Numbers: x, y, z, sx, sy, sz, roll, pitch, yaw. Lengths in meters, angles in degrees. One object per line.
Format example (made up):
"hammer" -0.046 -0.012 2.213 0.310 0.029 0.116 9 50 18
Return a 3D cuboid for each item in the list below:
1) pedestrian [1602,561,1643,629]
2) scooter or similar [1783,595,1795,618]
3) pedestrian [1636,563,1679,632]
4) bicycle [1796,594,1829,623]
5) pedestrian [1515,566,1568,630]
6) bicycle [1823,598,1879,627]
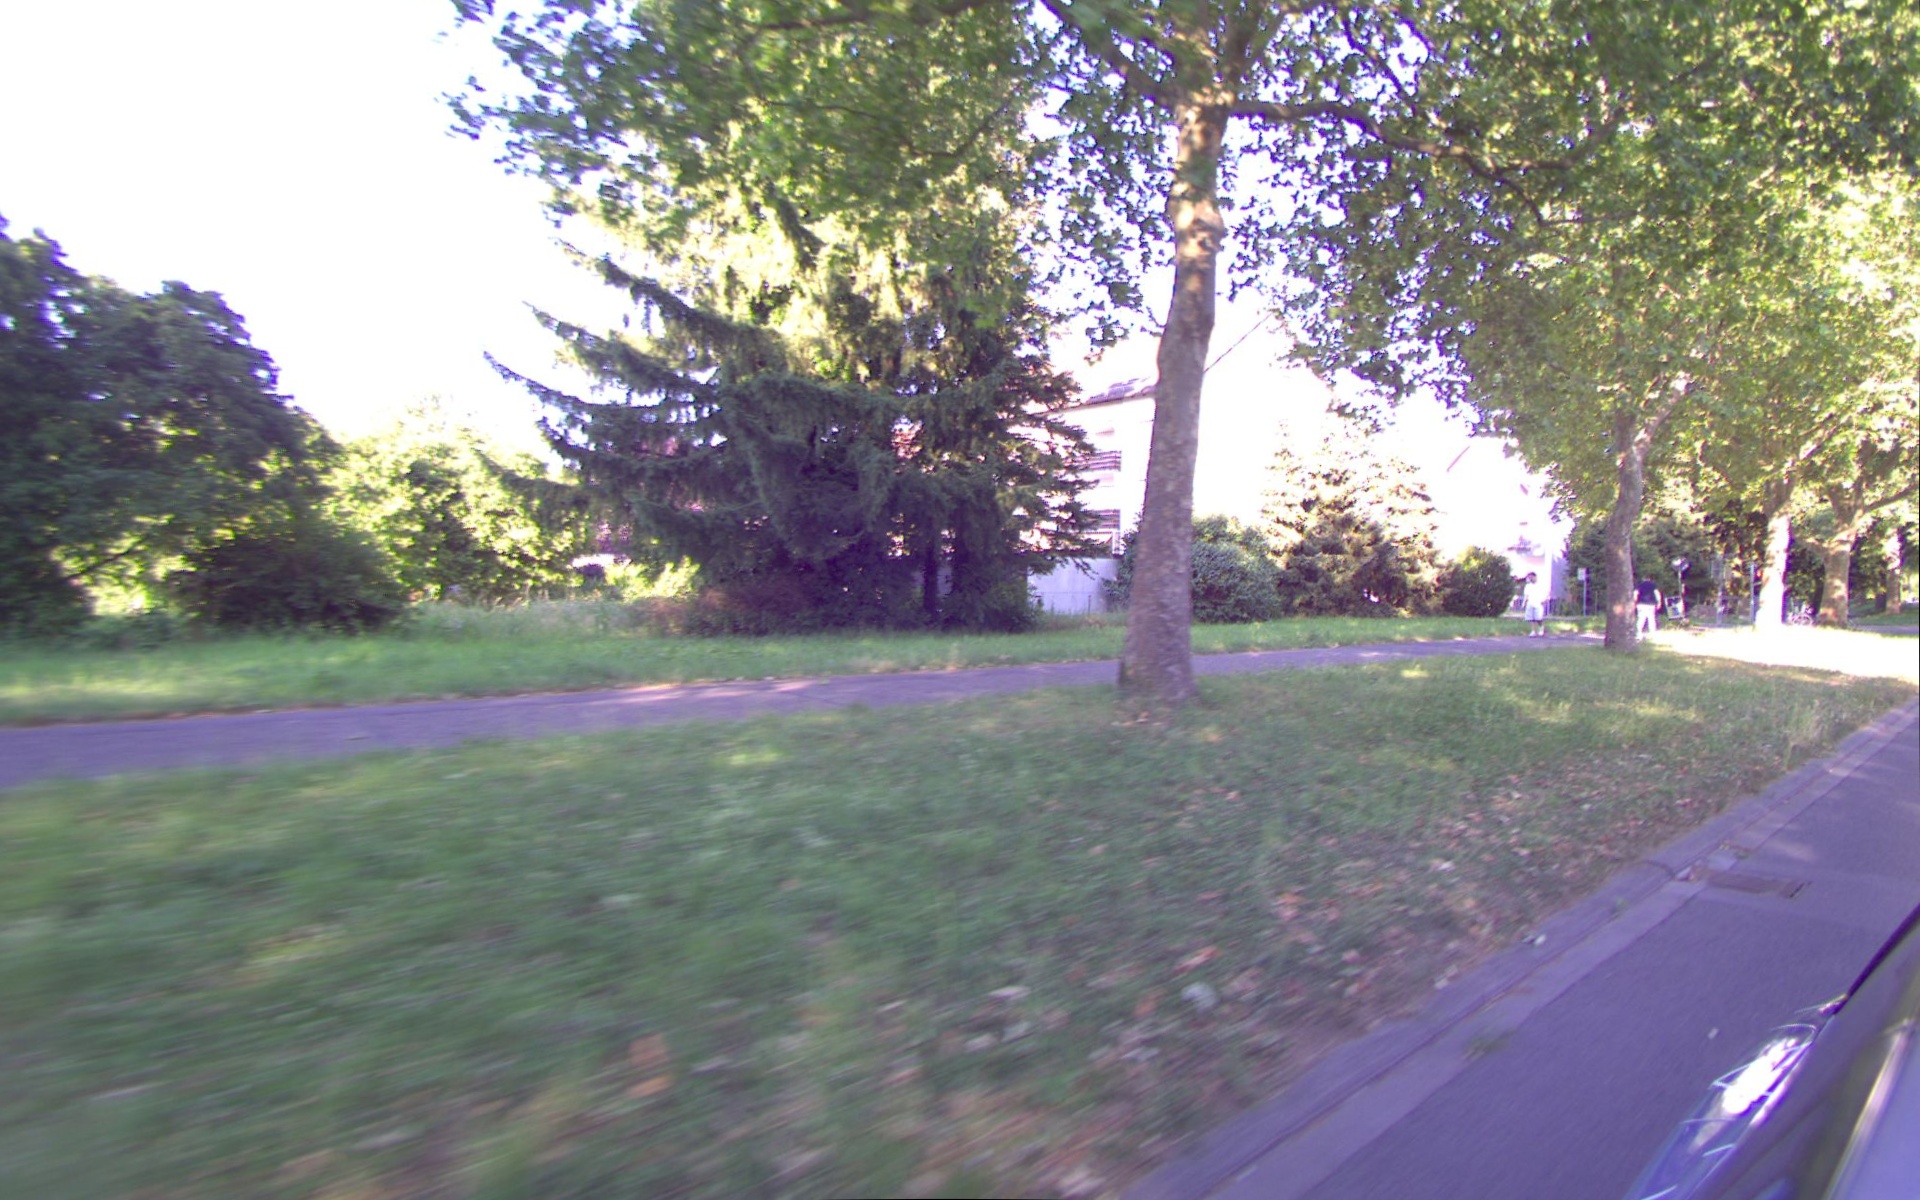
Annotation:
"pedestrian" 18.795 -0.147 28.708 0.788 1.870 0.756 1 1 -40
"scooter or similar" 45.217 0.348 55.189 0.382 1.211 1.235 0 0 44
"pedestrian" 19.326 -0.082 28.033 0.773 1.869 0.763 1 1 -40
"bicycle" 33.448 0.332 39.715 0.442 1.096 1.989 4 1 26
"pedestrian" 15.732 -0.060 27.391 0.919 1.670 0.784 1 1 -21
"bicycle" 34.829 0.462 39.600 0.437 1.048 1.723 3 1 -8
